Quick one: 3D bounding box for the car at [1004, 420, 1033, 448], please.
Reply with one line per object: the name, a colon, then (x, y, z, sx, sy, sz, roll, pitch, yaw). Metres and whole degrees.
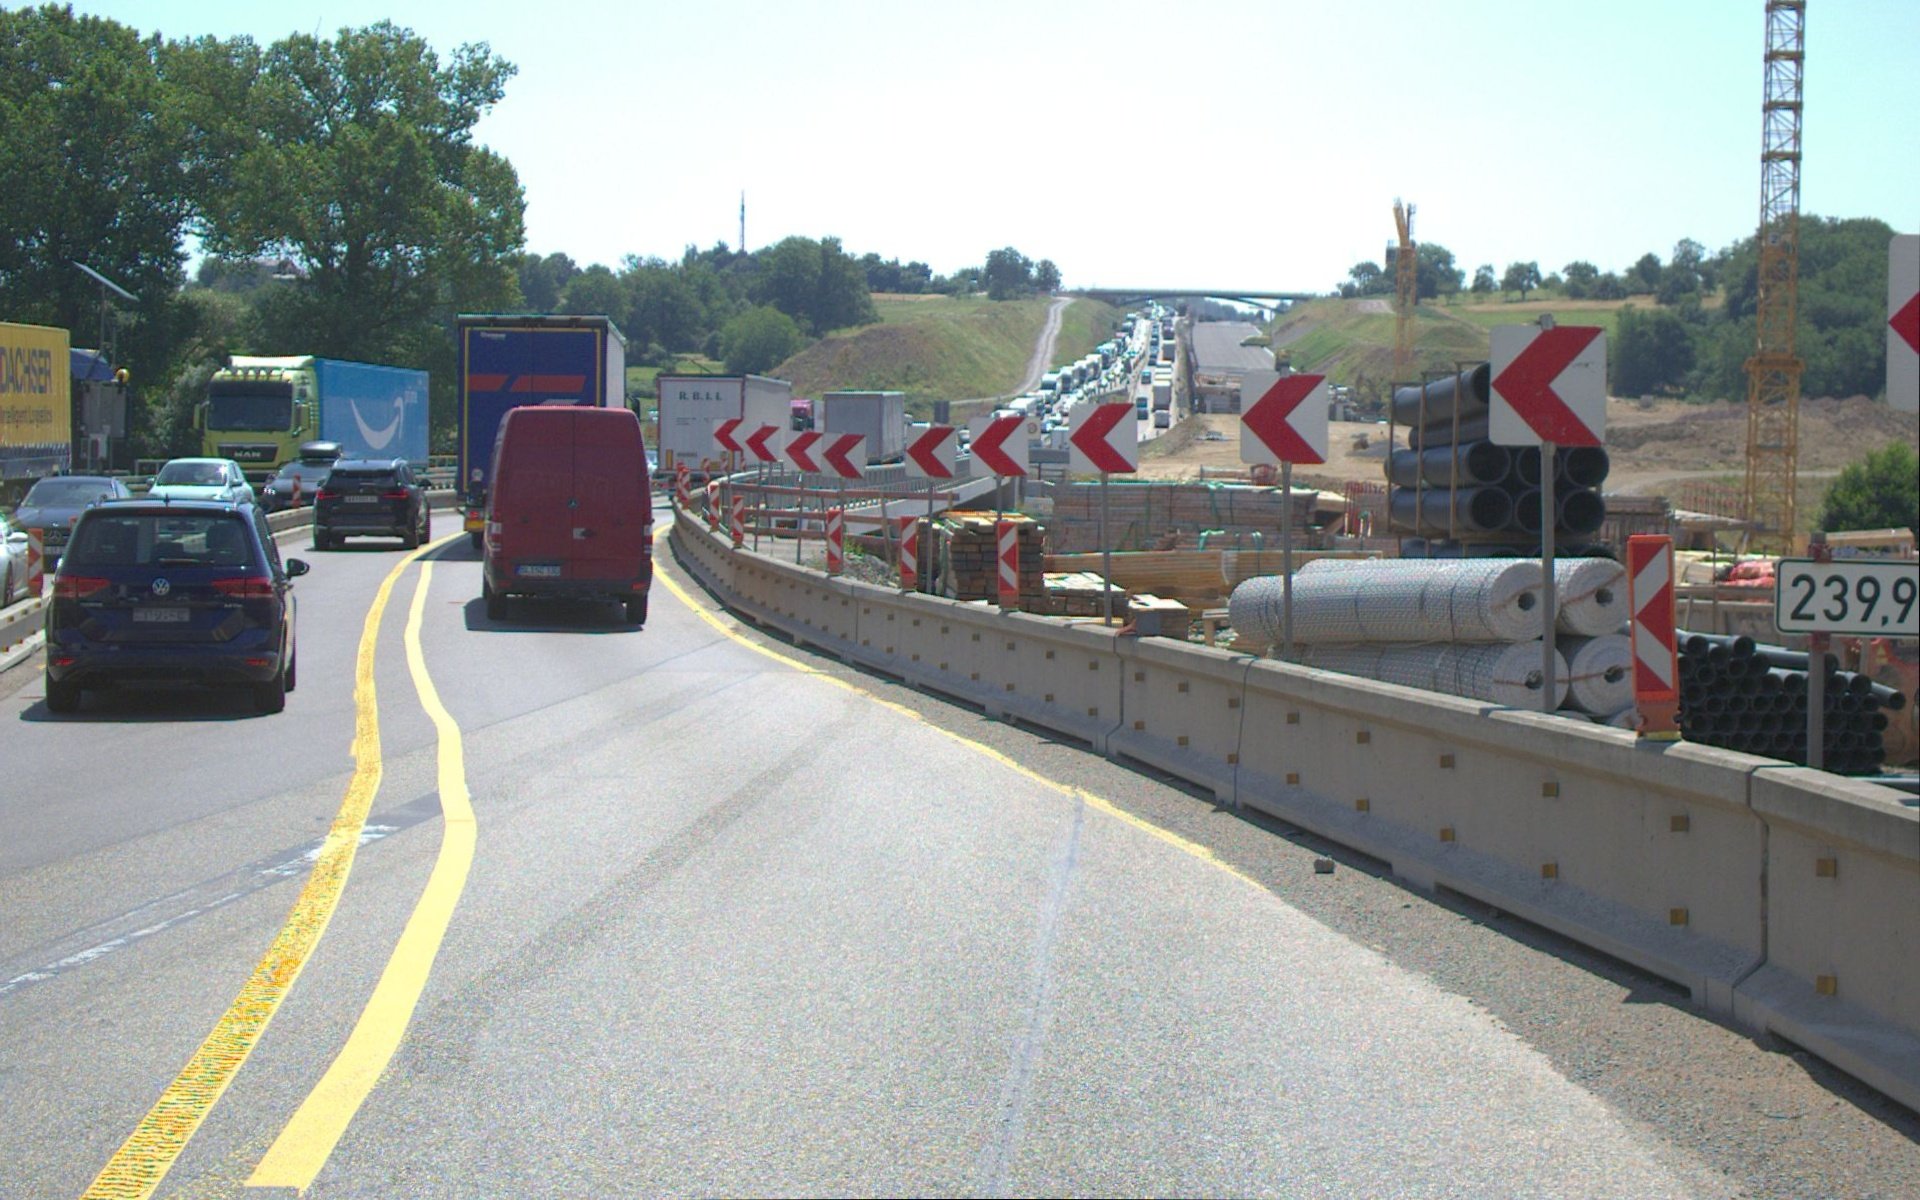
car: (3.681, -10.388, 215.884, 1.618, 1.694, 3.890, 2, 3, 3)

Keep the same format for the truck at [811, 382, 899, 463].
truck: (-4.608, -7.861, 153.227, 3.184, 2.967, 8.898, 1, -1, 3)

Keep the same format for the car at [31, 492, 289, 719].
car: (-6.297, -0.024, 27.445, 1.733, 1.629, 4.391, 1, 2, -10)

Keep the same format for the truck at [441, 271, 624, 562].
truck: (-7.659, -3.289, 62.362, 2.944, 4.928, 6.743, 1, 2, -5)

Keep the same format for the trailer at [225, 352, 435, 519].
trailer: (-17.525, -4.504, 96.724, 2.648, 4.277, 13.308, 2, 2, 3)

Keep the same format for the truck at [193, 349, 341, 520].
truck: (-18.071, -4.294, 89.875, 2.625, 4.255, 4.732, 2, 2, 2)

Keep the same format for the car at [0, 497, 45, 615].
car: (-12.046, -0.573, 41.202, 1.676, 1.260, 4.338, 1, 2, -10)

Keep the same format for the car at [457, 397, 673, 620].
car: (-5.071, -1.165, 43.457, 2.149, 2.602, 5.440, 1, 2, -12)

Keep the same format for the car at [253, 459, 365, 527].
car: (-15.044, -2.492, 79.610, 1.820, 1.430, 4.584, 1, 3, -2)

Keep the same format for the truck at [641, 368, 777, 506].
truck: (-7.523, -4.913, 103.750, 3.182, 3.975, 6.741, 1, 2, 3)

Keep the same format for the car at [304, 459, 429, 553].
car: (-10.774, -1.702, 62.680, 1.833, 1.630, 4.390, 1, 1, -4)

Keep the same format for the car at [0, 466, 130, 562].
car: (-14.031, -1.375, 53.853, 1.676, 1.357, 4.505, 1, 2, -10)

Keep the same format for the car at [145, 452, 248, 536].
car: (-15.020, -2.108, 67.767, 1.636, 1.480, 4.002, 1, 4, -8)

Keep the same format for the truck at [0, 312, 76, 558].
truck: (-18.223, -2.892, 59.604, 2.806, 4.327, 15.378, 1, 2, -4)
